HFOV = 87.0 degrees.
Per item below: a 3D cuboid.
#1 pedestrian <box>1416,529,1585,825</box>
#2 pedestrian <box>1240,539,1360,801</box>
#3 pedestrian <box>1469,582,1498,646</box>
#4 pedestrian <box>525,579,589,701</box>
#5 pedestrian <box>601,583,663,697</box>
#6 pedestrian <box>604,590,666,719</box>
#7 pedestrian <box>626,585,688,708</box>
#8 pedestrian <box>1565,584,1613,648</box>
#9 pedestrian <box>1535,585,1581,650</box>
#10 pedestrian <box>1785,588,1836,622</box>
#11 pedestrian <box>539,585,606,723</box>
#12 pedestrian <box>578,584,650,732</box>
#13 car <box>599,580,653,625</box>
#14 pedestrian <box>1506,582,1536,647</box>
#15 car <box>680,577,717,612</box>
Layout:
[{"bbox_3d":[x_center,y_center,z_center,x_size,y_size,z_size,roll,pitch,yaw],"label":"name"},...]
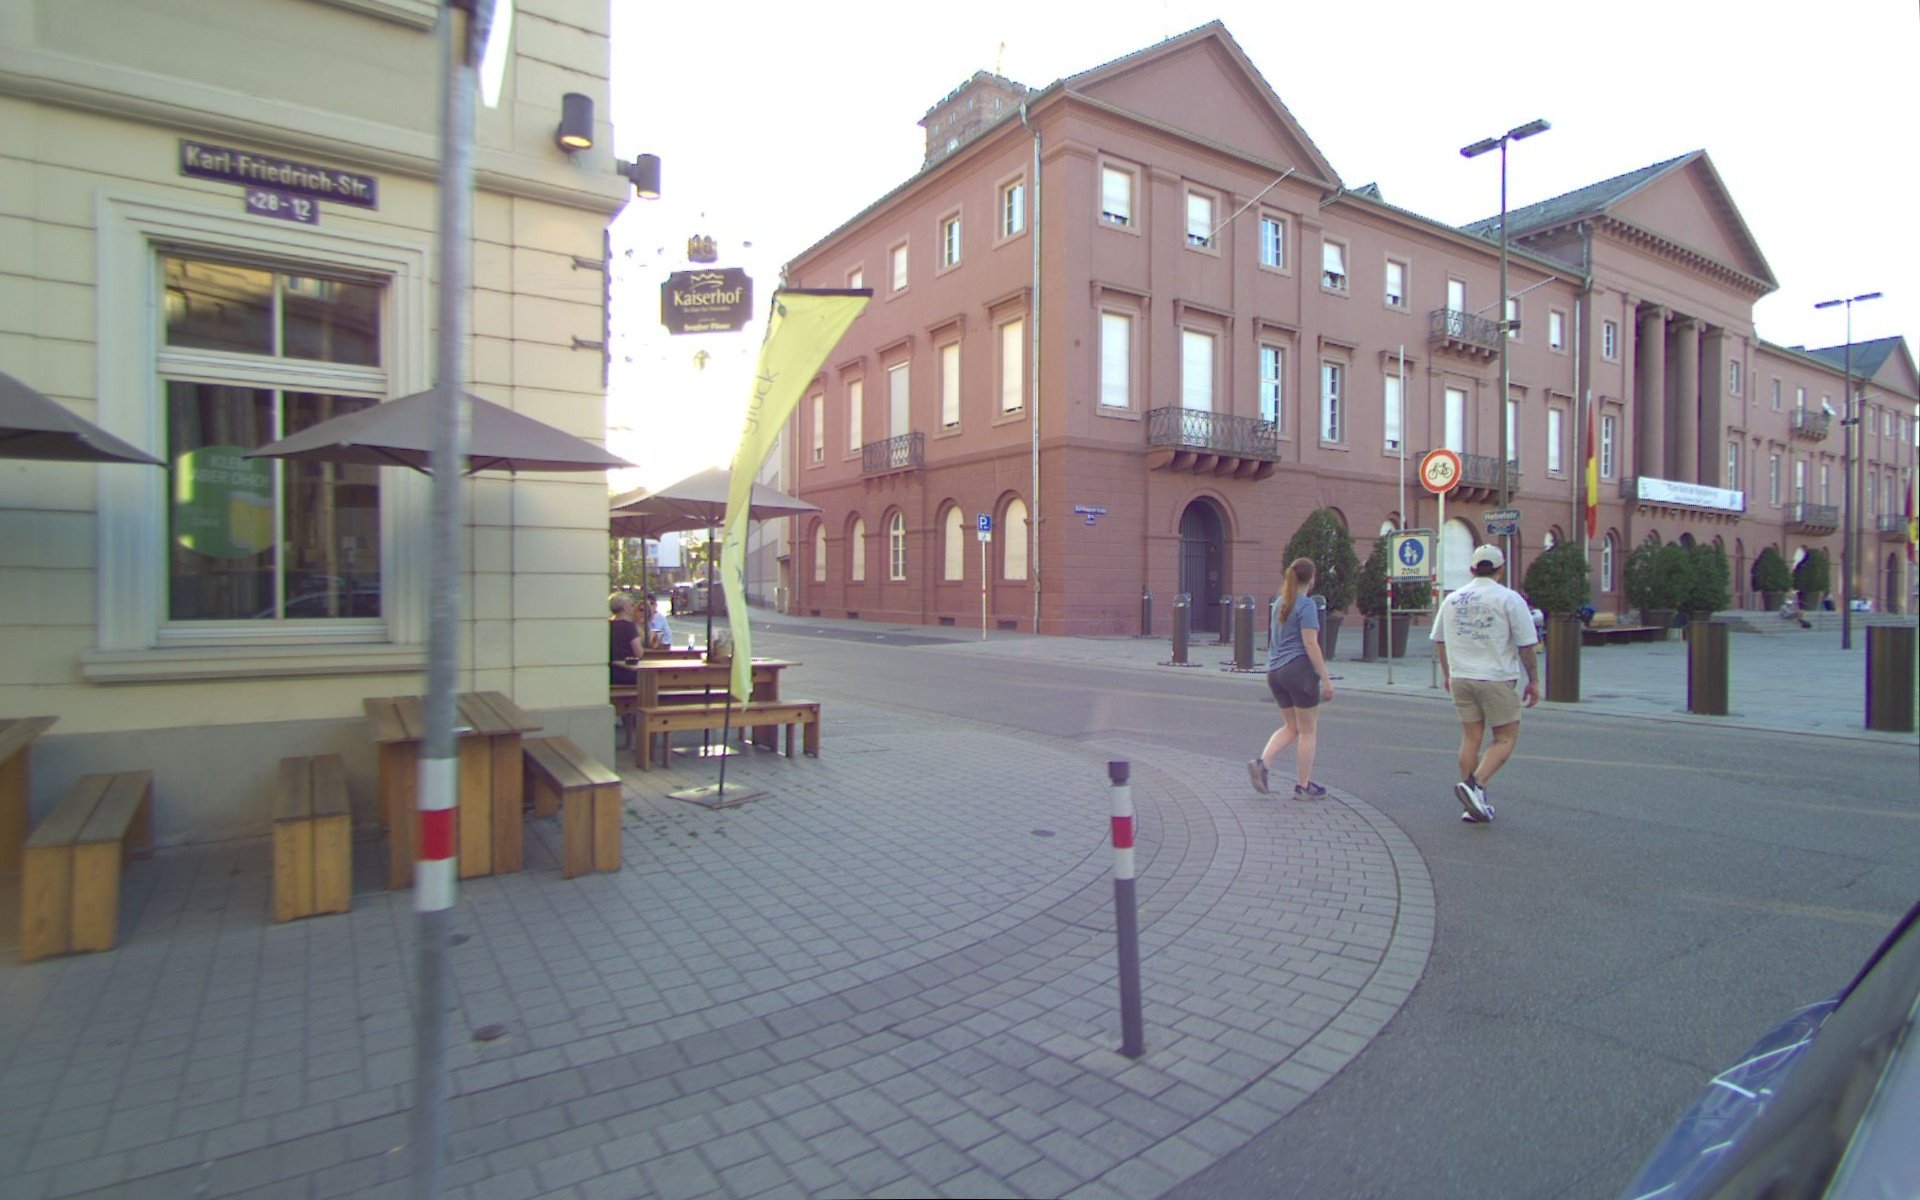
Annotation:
[{"bbox_3d":[3.371,0.449,6.379,0.753,1.751,0.667,0,1,10],"label":"pedestrian"},{"bbox_3d":[2.366,0.458,7.116,0.706,1.751,0.607,0,0,10],"label":"pedestrian"},{"bbox_3d":[12.297,0.319,23.766,0.579,1.466,0.822,0,1,29],"label":"pedestrian"},{"bbox_3d":[-4.999,0.477,12.547,0.610,1.467,0.499,0,1,-40],"label":"pedestrian"},{"bbox_3d":[-4.233,0.491,13.054,0.669,1.420,0.545,0,0,-30],"label":"pedestrian"},{"bbox_3d":[-3.519,0.567,10.949,0.515,1.353,0.504,0,1,-34],"label":"pedestrian"},{"bbox_3d":[-3.594,0.525,11.994,0.543,1.404,0.577,0,1,-37],"label":"pedestrian"},{"bbox_3d":[14.761,0.370,23.756,0.573,1.466,0.831,0,1,-2],"label":"pedestrian"},{"bbox_3d":[13.919,0.398,23.580,0.573,1.466,0.831,0,1,0],"label":"pedestrian"},{"bbox_3d":[32.439,0.179,38.594,1.401,1.278,1.306,1,1,45],"label":"pedestrian"},{"bbox_3d":[-4.054,0.543,10.582,0.568,1.386,0.528,0,1,-32],"label":"pedestrian"},{"bbox_3d":[-3.403,0.537,9.937,0.577,1.393,0.615,0,1,-29],"label":"pedestrian"},{"bbox_3d":[-13.653,0.036,41.554,1.809,1.615,4.009,-3,3,-14],"label":"car"},{"bbox_3d":[13.076,0.320,23.598,0.579,1.466,0.822,0,1,29],"label":"pedestrian"},{"bbox_3d":[-11.930,-0.270,46.084,1.538,1.540,3.065,0,1,-16],"label":"car"}]
